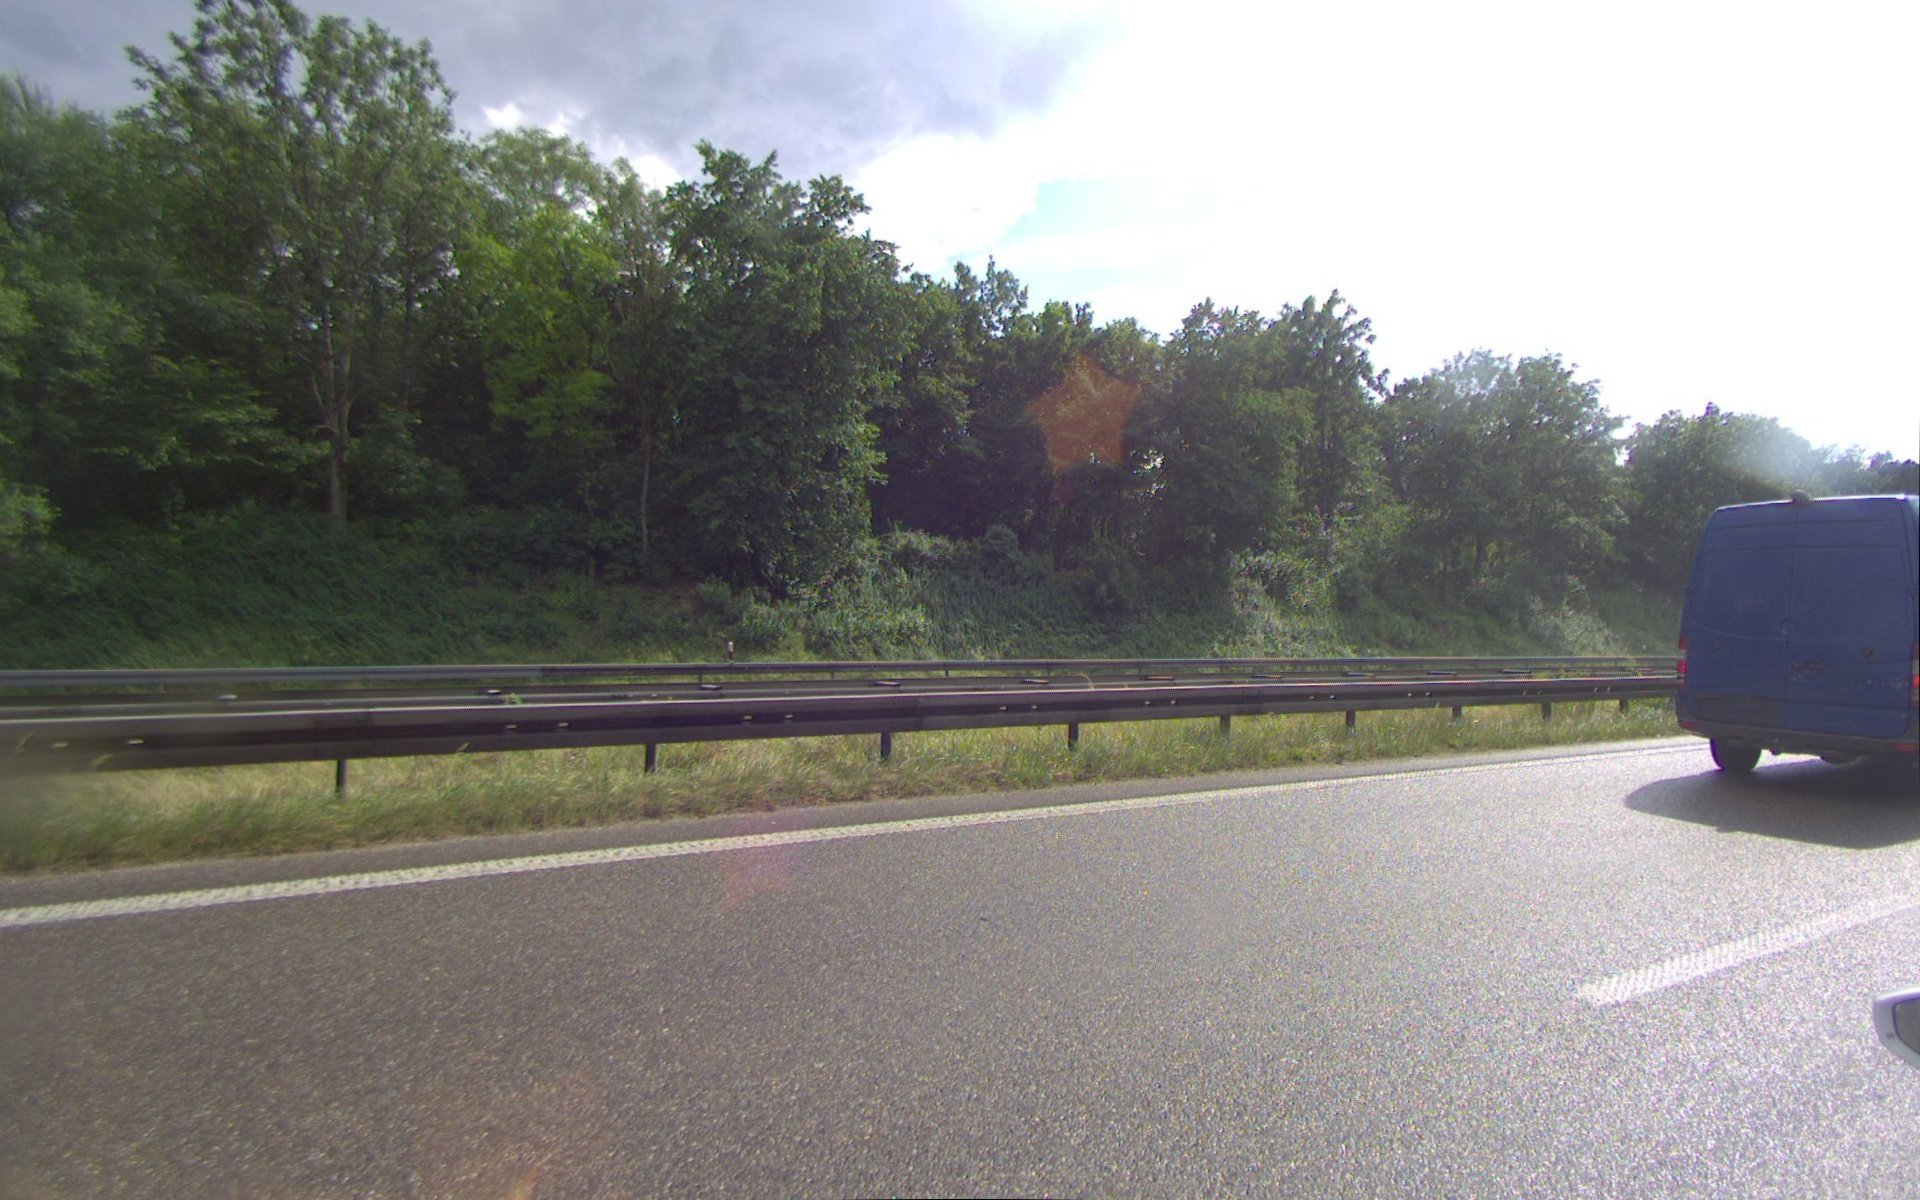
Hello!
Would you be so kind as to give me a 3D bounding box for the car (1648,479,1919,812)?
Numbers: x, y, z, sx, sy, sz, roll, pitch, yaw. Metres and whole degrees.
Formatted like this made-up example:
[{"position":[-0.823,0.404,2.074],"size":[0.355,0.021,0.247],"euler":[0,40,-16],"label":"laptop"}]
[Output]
[{"position":[9.690,0.431,10.405],"size":[5.710,2.684,2.005],"euler":[2,0,-31],"label":"car"}]
